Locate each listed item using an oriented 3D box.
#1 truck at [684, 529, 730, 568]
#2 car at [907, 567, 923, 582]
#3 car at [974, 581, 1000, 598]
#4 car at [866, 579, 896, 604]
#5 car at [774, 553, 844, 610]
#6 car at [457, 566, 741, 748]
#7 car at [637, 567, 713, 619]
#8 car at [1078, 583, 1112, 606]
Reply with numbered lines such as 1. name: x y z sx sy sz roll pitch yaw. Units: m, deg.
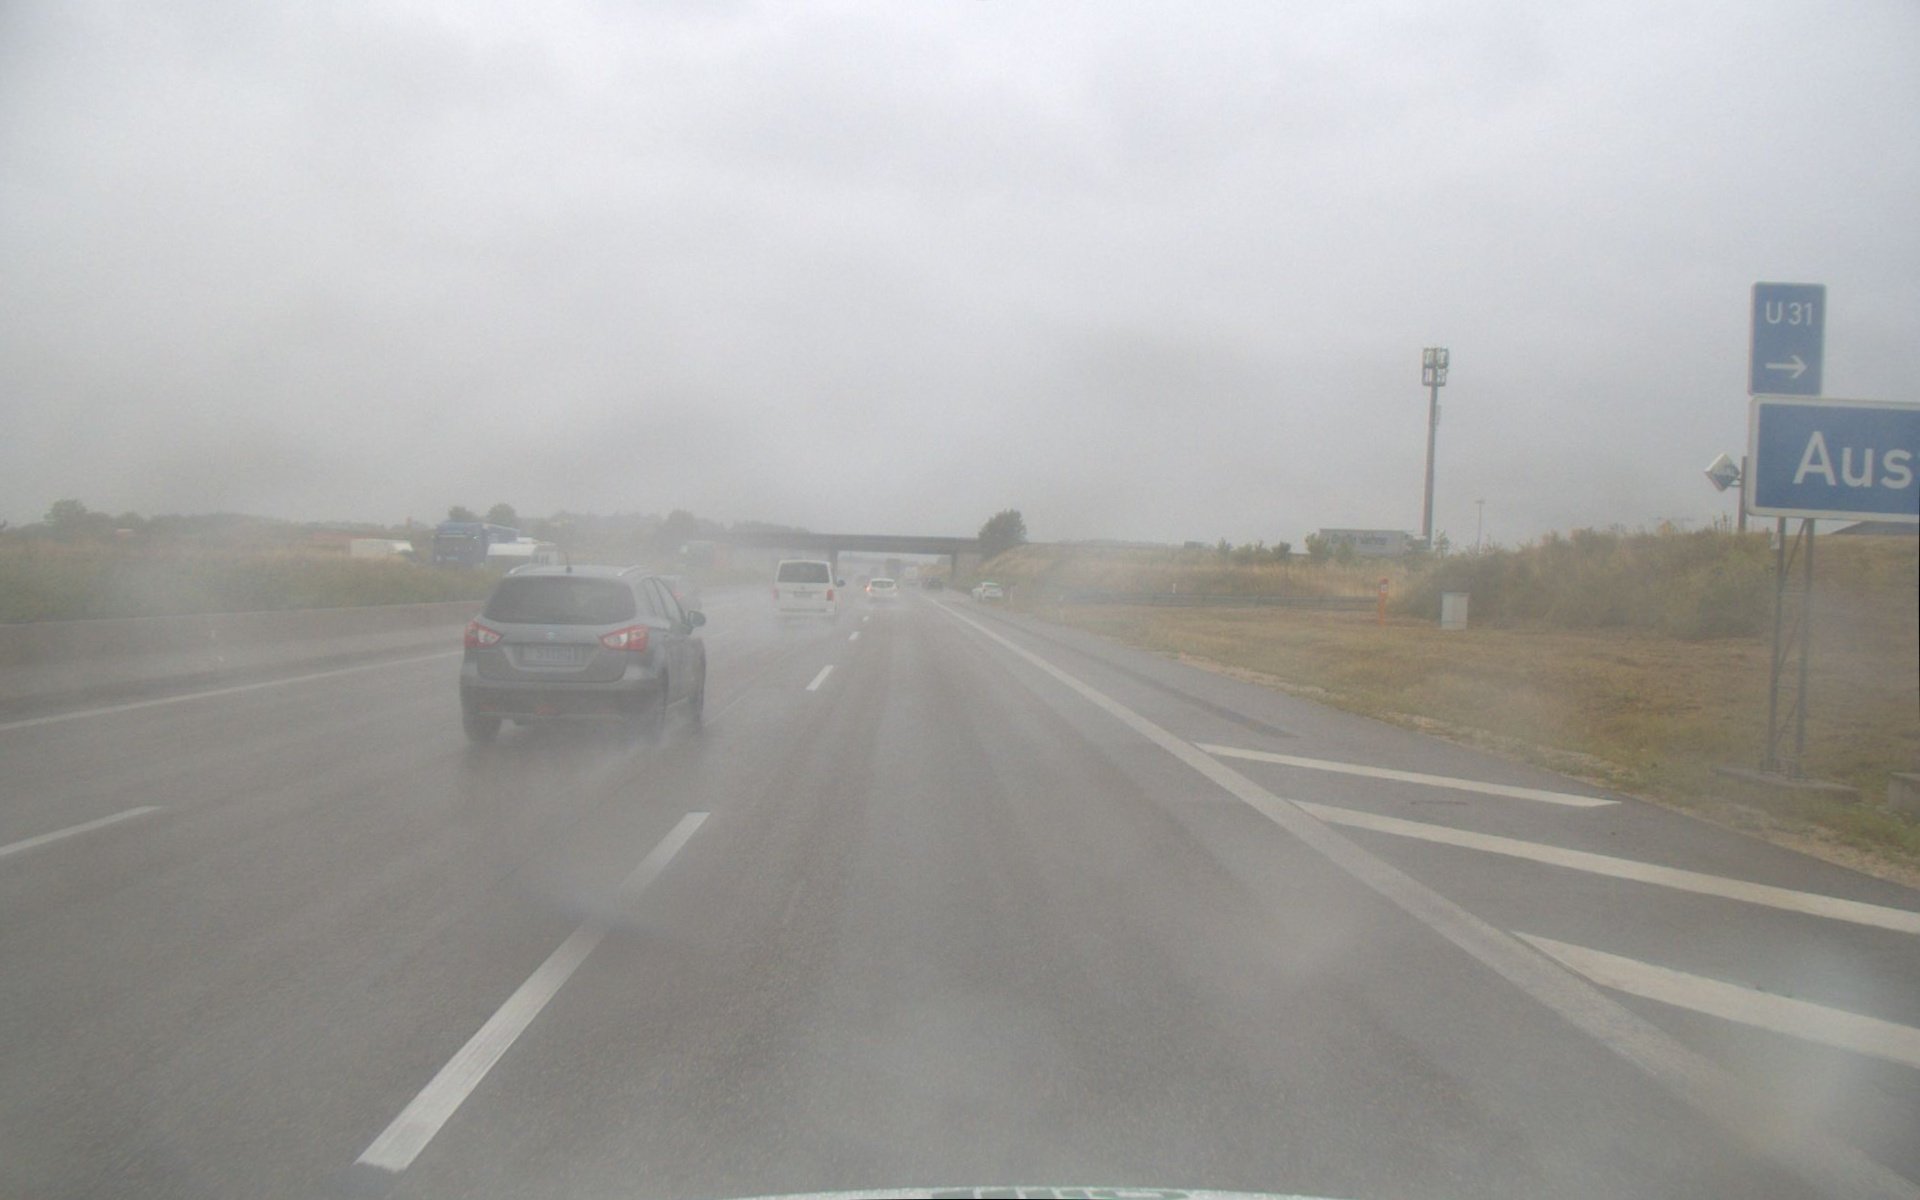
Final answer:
1. truck: -23.963 -4.812 156.874 3.200 3.501 10.125 1 1 -3
2. car: -6.404 -3.602 233.229 1.955 2.138 3.996 2 1 -5
3. car: 2.105 -0.809 131.613 1.953 1.288 3.999 1 0 -1
4. car: -4.114 -0.437 86.441 1.438 1.229 2.991 2 0 -1
5. car: -4.480 -0.542 49.642 1.859 1.613 3.998 1 0 -2
6. car: -3.418 0.463 16.611 1.808 1.539 4.756 1 1 0
7. car: -8.091 -0.207 47.236 1.580 1.377 3.999 2 1 -2
8. car: 9.195 -0.372 112.661 1.698 1.446 3.654 1 1 -5
